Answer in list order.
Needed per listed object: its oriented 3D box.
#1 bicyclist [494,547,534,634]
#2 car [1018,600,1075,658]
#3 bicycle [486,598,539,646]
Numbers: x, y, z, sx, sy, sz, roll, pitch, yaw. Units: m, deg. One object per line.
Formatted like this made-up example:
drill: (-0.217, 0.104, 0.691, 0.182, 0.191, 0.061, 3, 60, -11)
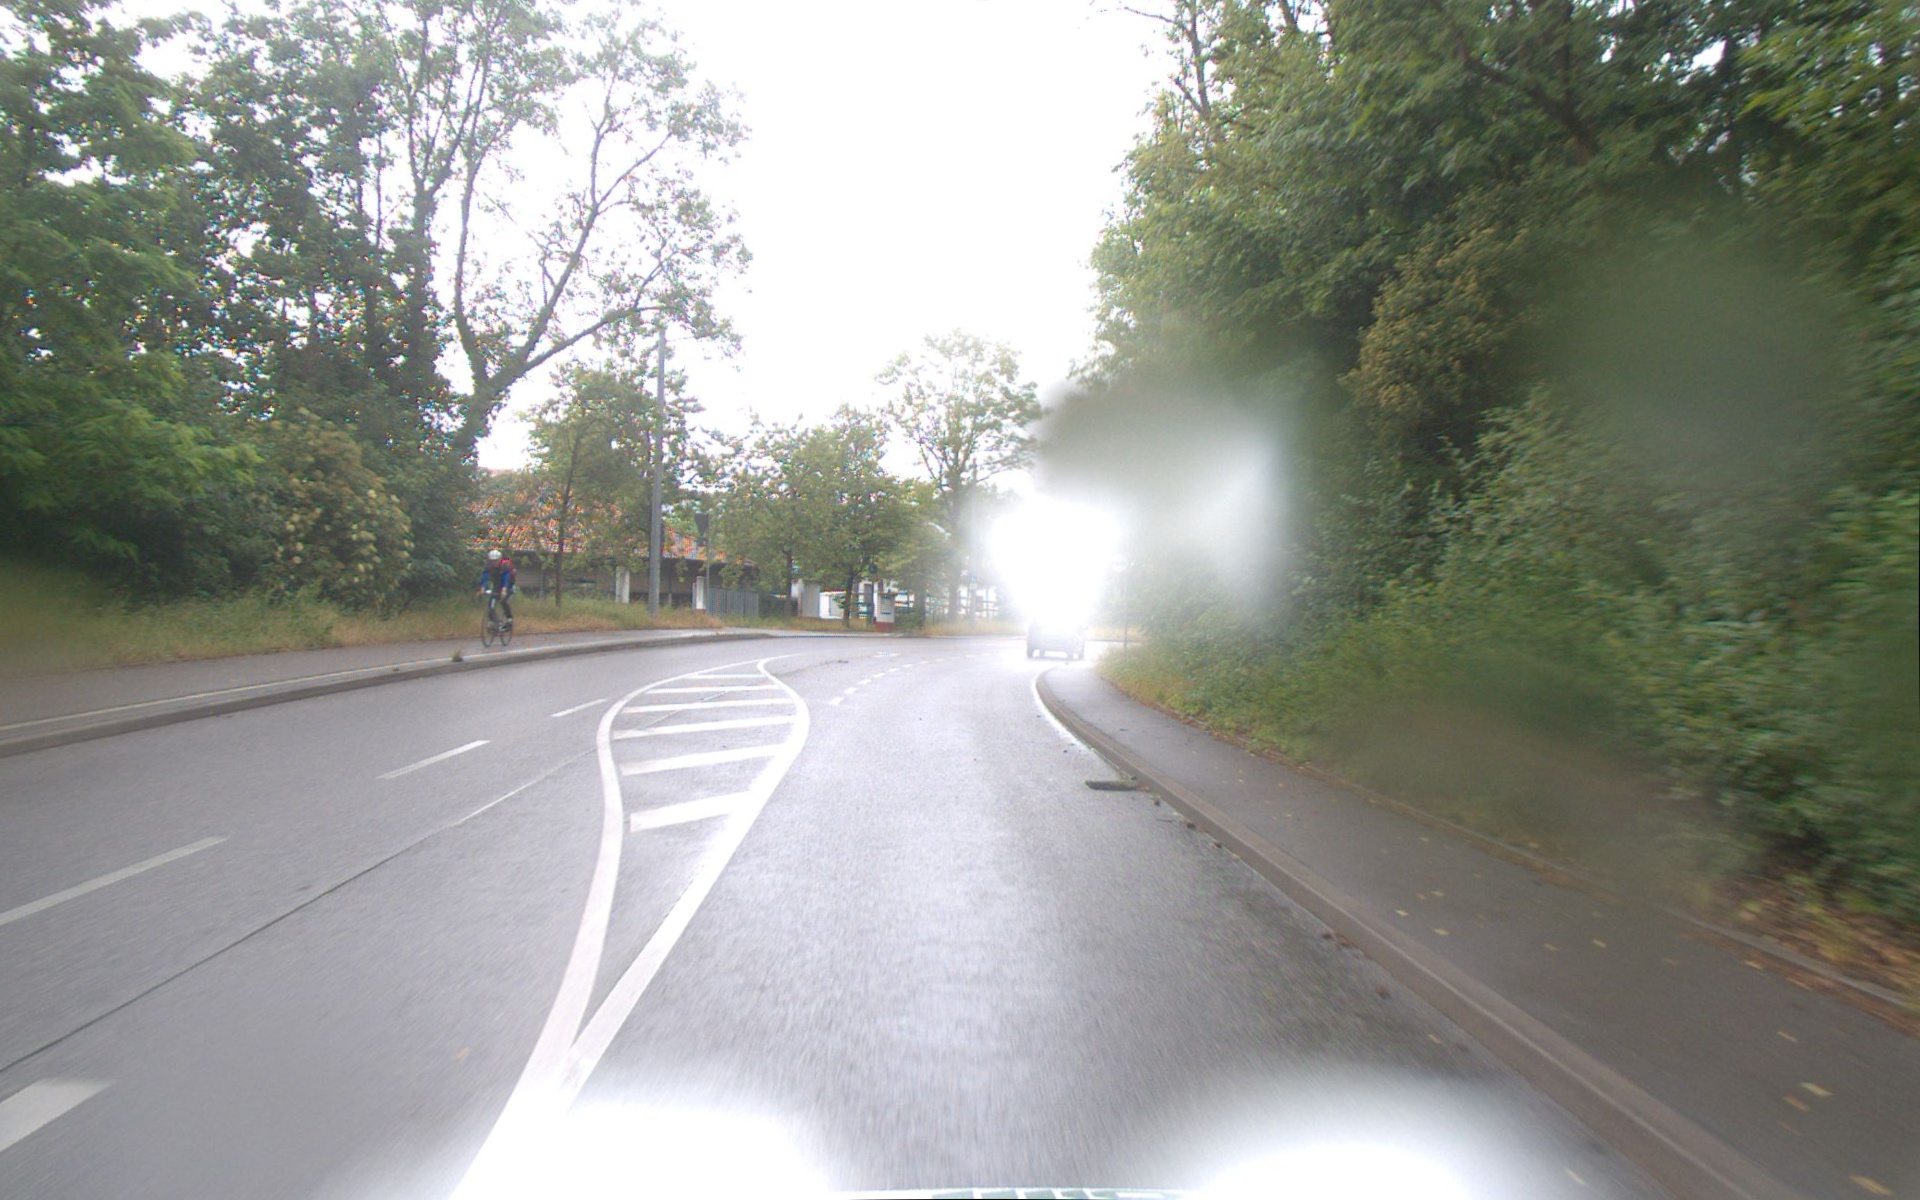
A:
bicyclist: (-8.434, -0.169, 31.286, 0.329, 1.602, 1.298, 2, 0, 2)
car: (3.029, 1.038, 57.370, 1.789, 1.825, 4.001, -2, -3, 4)
bicycle: (-8.447, 0.404, 31.251, 0.348, 0.864, 2.094, 2, 0, 2)
